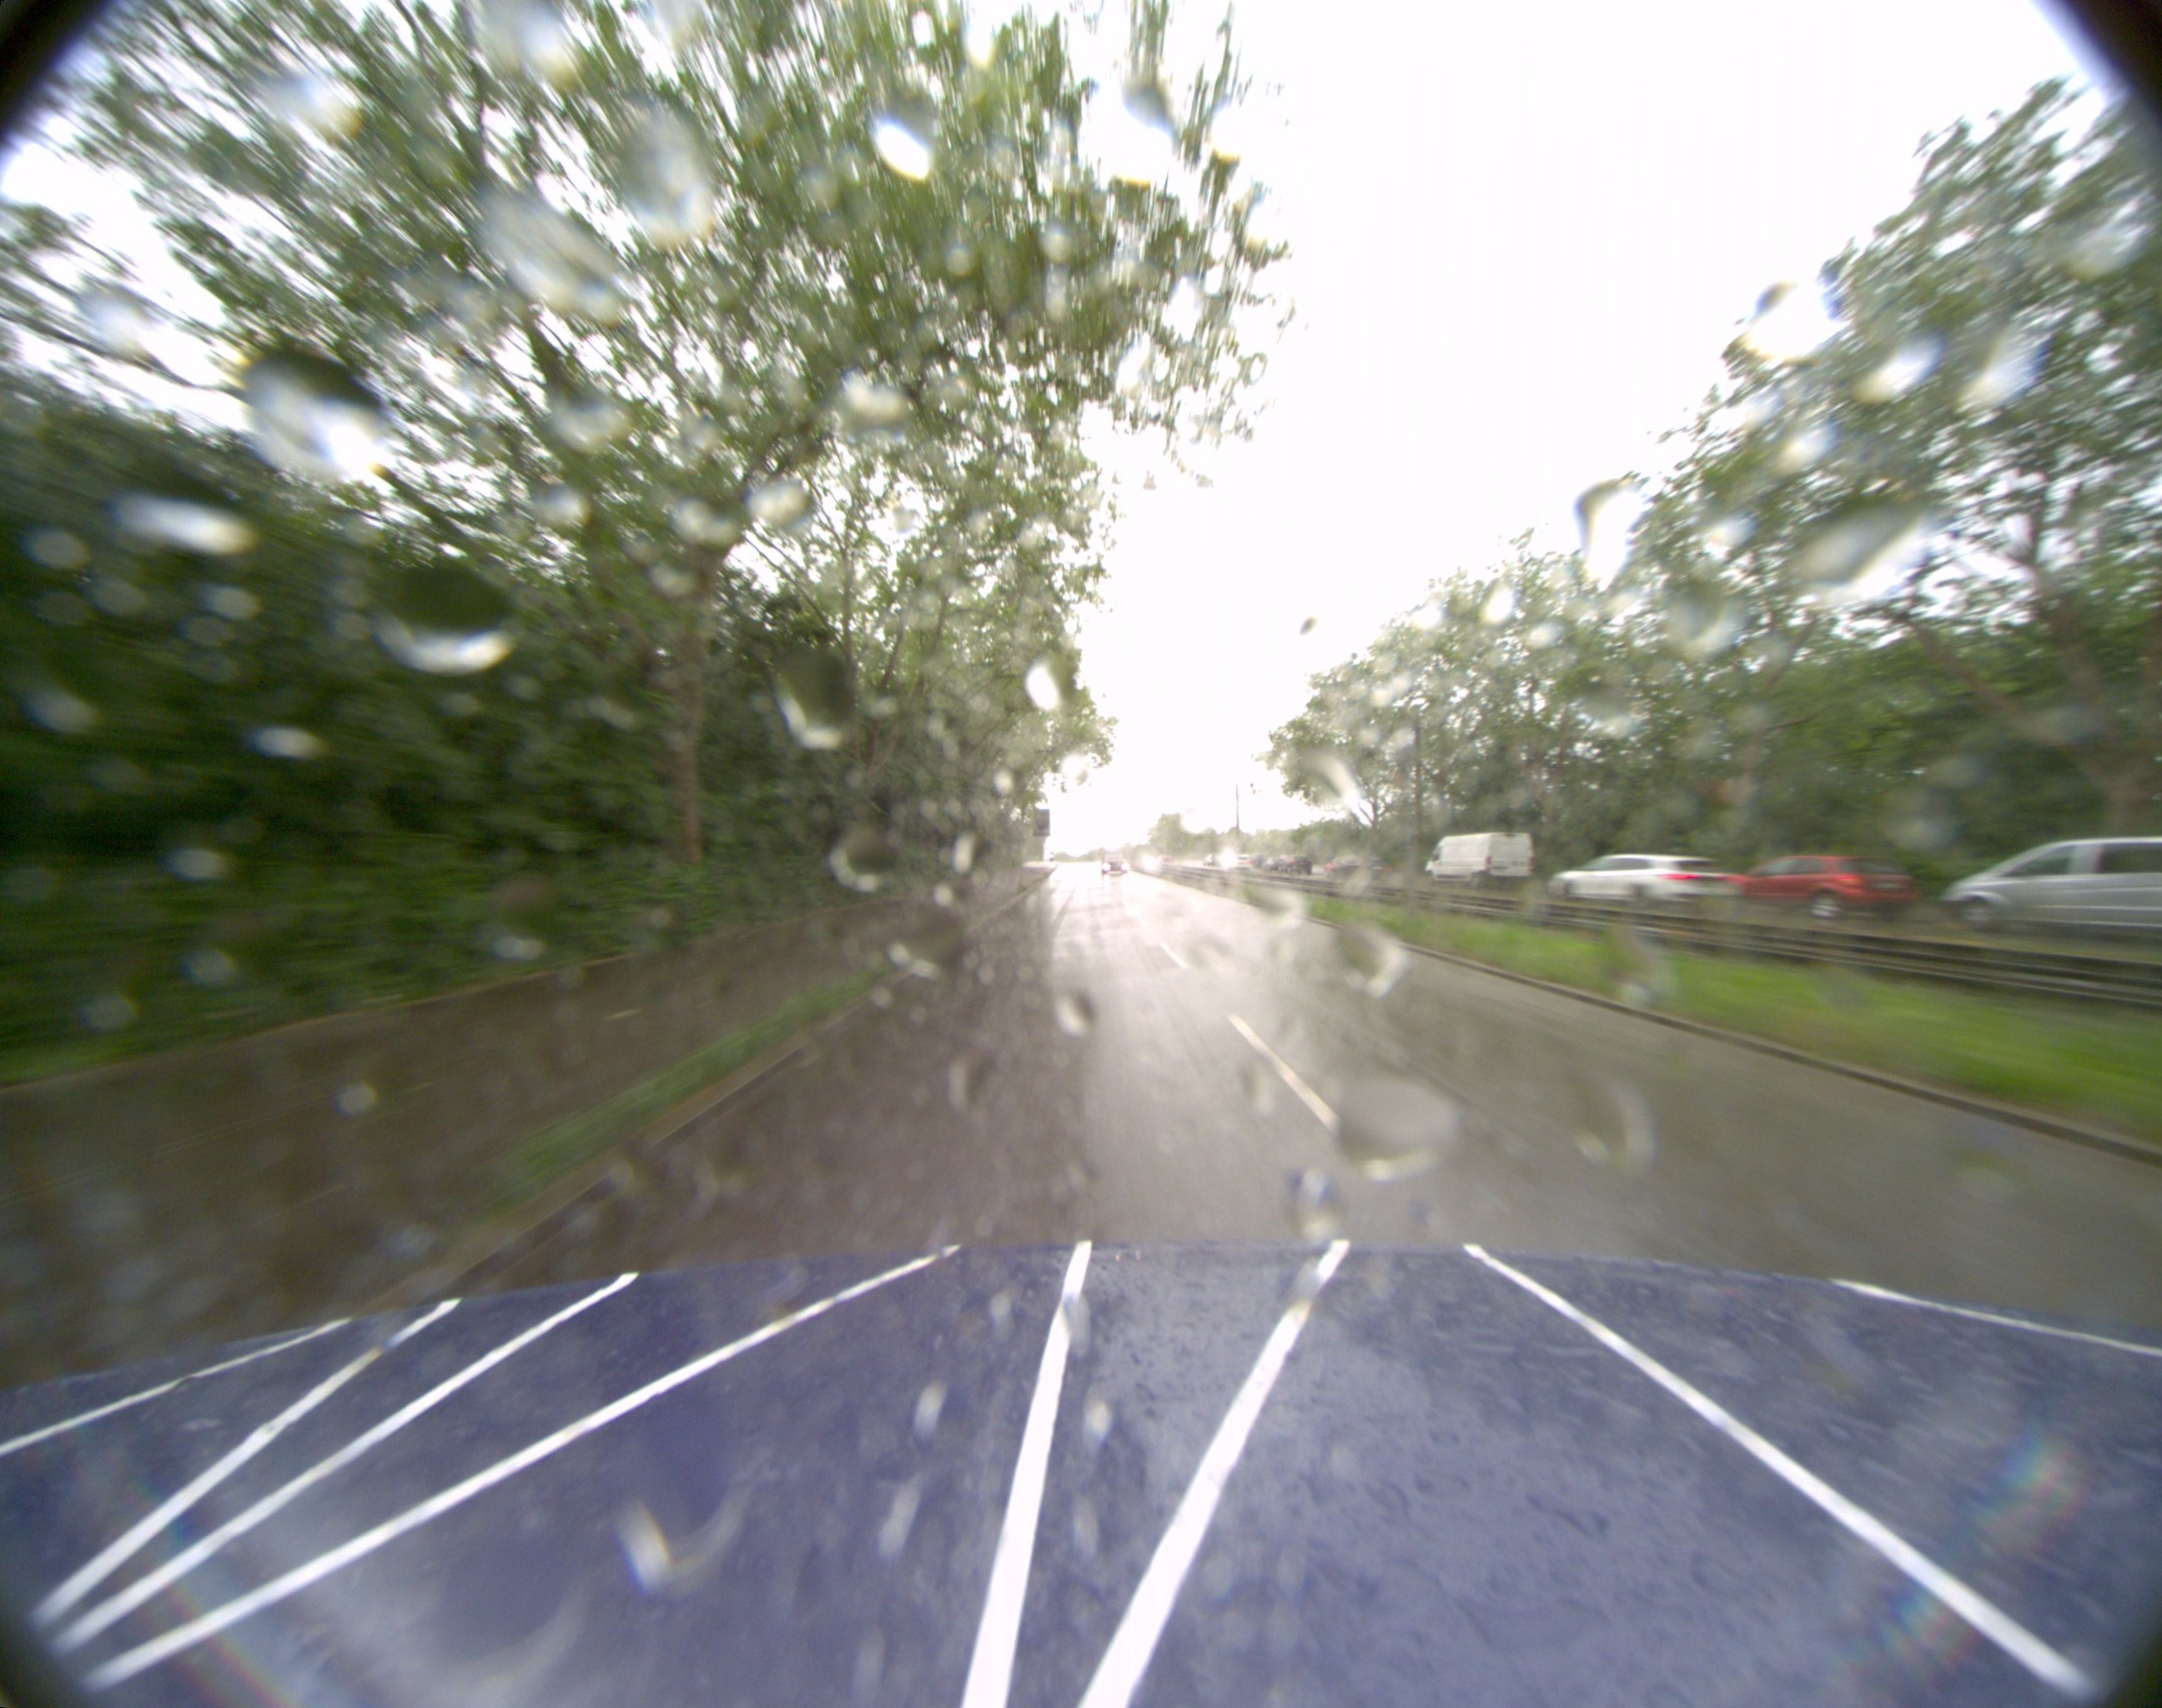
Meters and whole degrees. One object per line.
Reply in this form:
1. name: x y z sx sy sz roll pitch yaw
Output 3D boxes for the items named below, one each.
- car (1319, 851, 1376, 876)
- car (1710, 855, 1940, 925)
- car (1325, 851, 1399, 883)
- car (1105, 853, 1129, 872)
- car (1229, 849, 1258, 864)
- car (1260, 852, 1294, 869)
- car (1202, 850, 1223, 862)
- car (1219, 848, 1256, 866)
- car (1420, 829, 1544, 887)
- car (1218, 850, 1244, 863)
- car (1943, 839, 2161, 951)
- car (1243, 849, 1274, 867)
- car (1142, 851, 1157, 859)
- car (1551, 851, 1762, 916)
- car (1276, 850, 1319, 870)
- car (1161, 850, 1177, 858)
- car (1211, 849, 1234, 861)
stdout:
1. car: 17.781 0.614 50.948 2.039 1.543 4.383 0 0 -3
2. car: 18.641 0.829 19.350 1.823 1.543 4.023 0 0 -1
3. car: 14.365 0.605 39.143 2.039 1.543 4.565 0 0 -1
4. car: 2.803 0.631 59.809 1.726 1.425 3.851 -1 0 0
5. car: 16.953 0.249 79.662 1.891 1.502 4.577 0 0 -2
6. car: 17.335 0.542 67.295 1.891 1.371 3.964 0 0 -2
7. car: 16.687 0.254 96.271 1.653 1.423 4.151 0 0 -4
8. car: 13.855 0.225 67.444 2.039 1.543 4.995 0 0 -3
9. car: 18.272 0.115 35.107 2.336 2.432 6.137 0 1 -2
10. car: 16.860 0.231 85.569 1.653 1.423 4.130 0 0 -6
11. car: 18.889 0.687 13.415 1.962 1.851 4.639 0 0 -1
12. car: 17.080 0.355 73.247 1.891 1.641 4.368 0 0 -2
13. car: 12.468 0.124 138.205 2.039 1.458 4.917 -1 0 -3
14. car: 15.390 0.699 20.760 1.984 1.558 4.767 0 0 -3
15. car: 17.543 0.475 61.880 2.039 1.543 4.383 0 0 -3
16. car: 15.959 0.032 137.340 2.039 1.458 4.917 -1 0 -3
17. car: 16.916 0.092 90.902 1.653 1.423 3.924 0 0 -5
